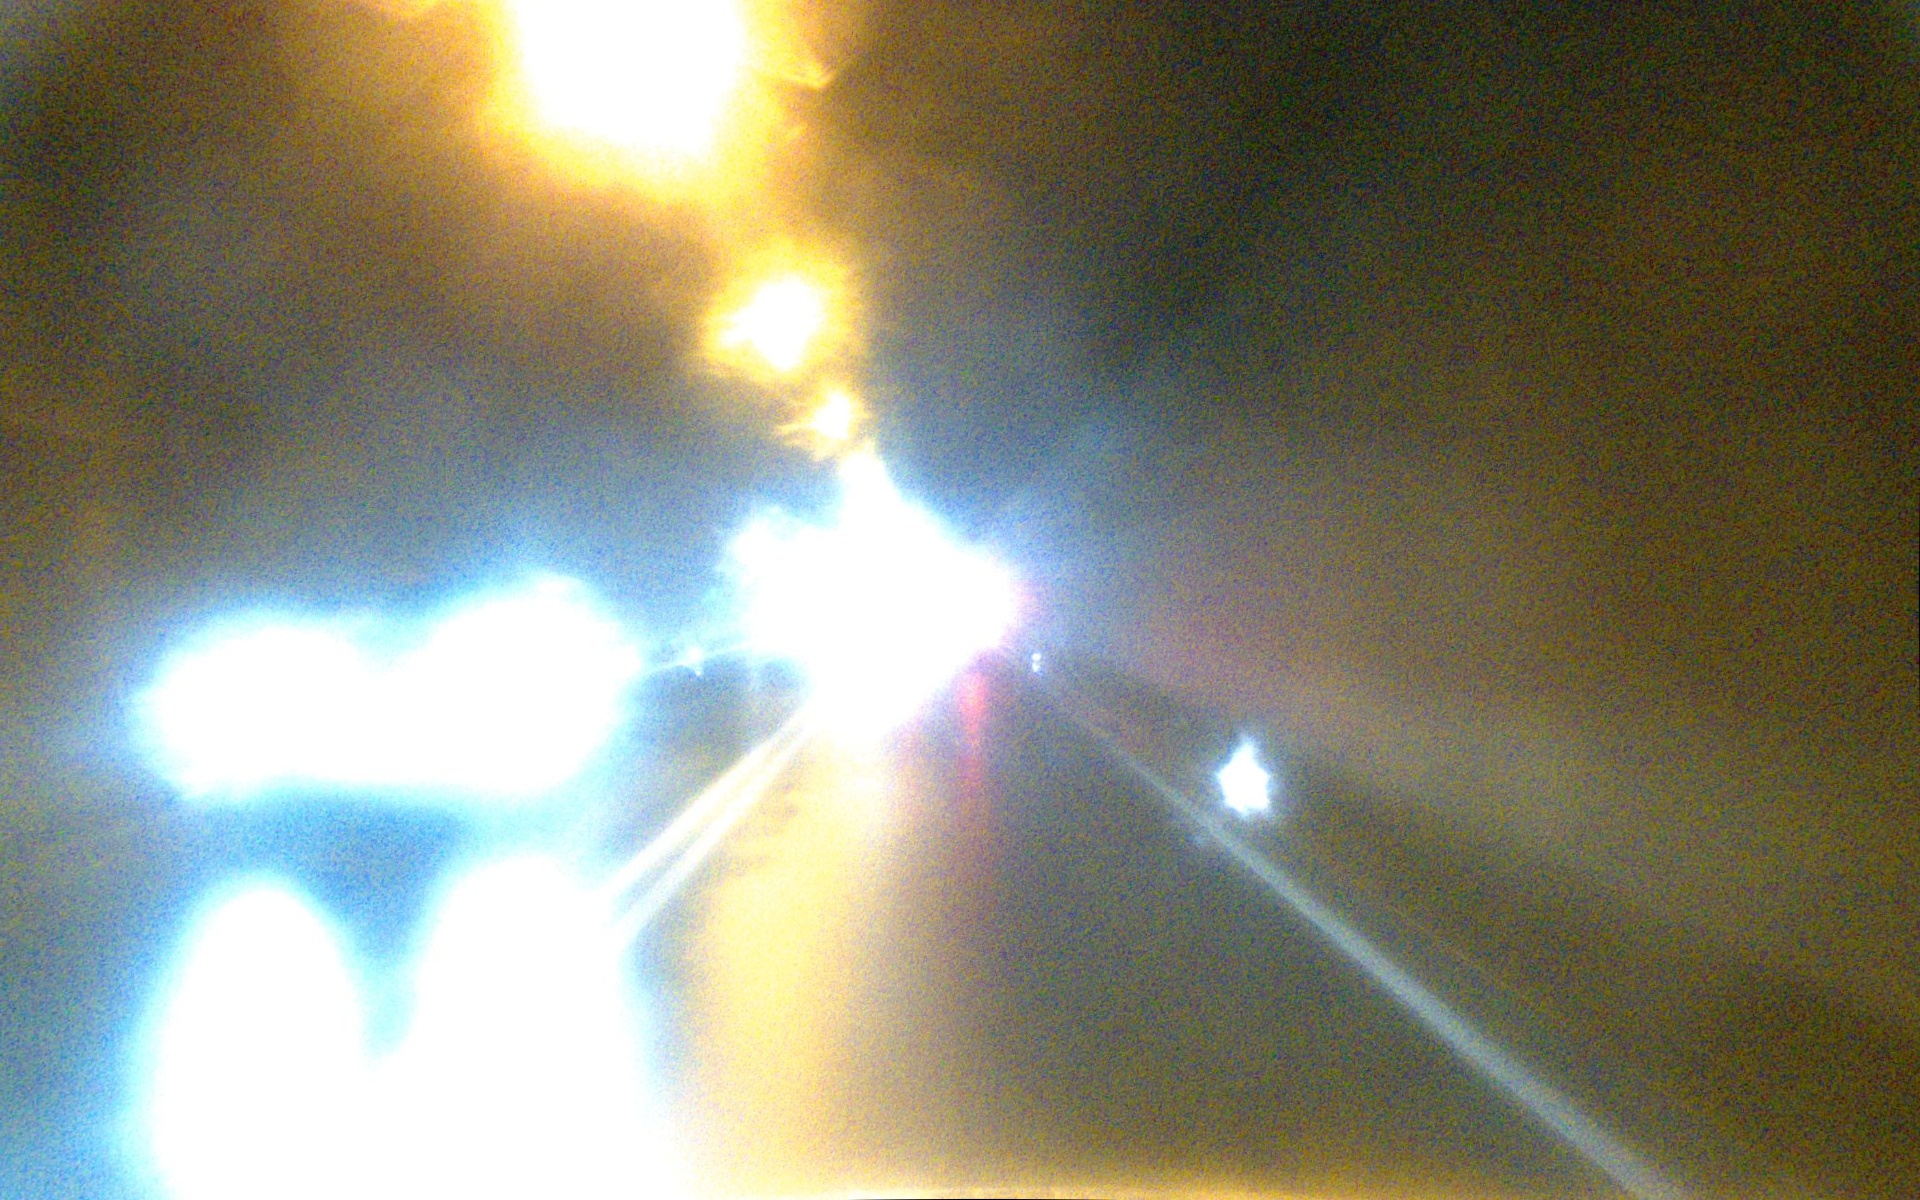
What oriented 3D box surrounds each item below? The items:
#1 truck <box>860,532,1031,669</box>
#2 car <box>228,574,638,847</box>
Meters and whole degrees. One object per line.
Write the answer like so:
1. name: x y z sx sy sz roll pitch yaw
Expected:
1. truck: -0.349 -0.007 38.593 3.463 2.740 8.954 -1 0 -1
2. car: -3.520 0.659 11.833 1.713 1.612 3.999 0 0 -1
